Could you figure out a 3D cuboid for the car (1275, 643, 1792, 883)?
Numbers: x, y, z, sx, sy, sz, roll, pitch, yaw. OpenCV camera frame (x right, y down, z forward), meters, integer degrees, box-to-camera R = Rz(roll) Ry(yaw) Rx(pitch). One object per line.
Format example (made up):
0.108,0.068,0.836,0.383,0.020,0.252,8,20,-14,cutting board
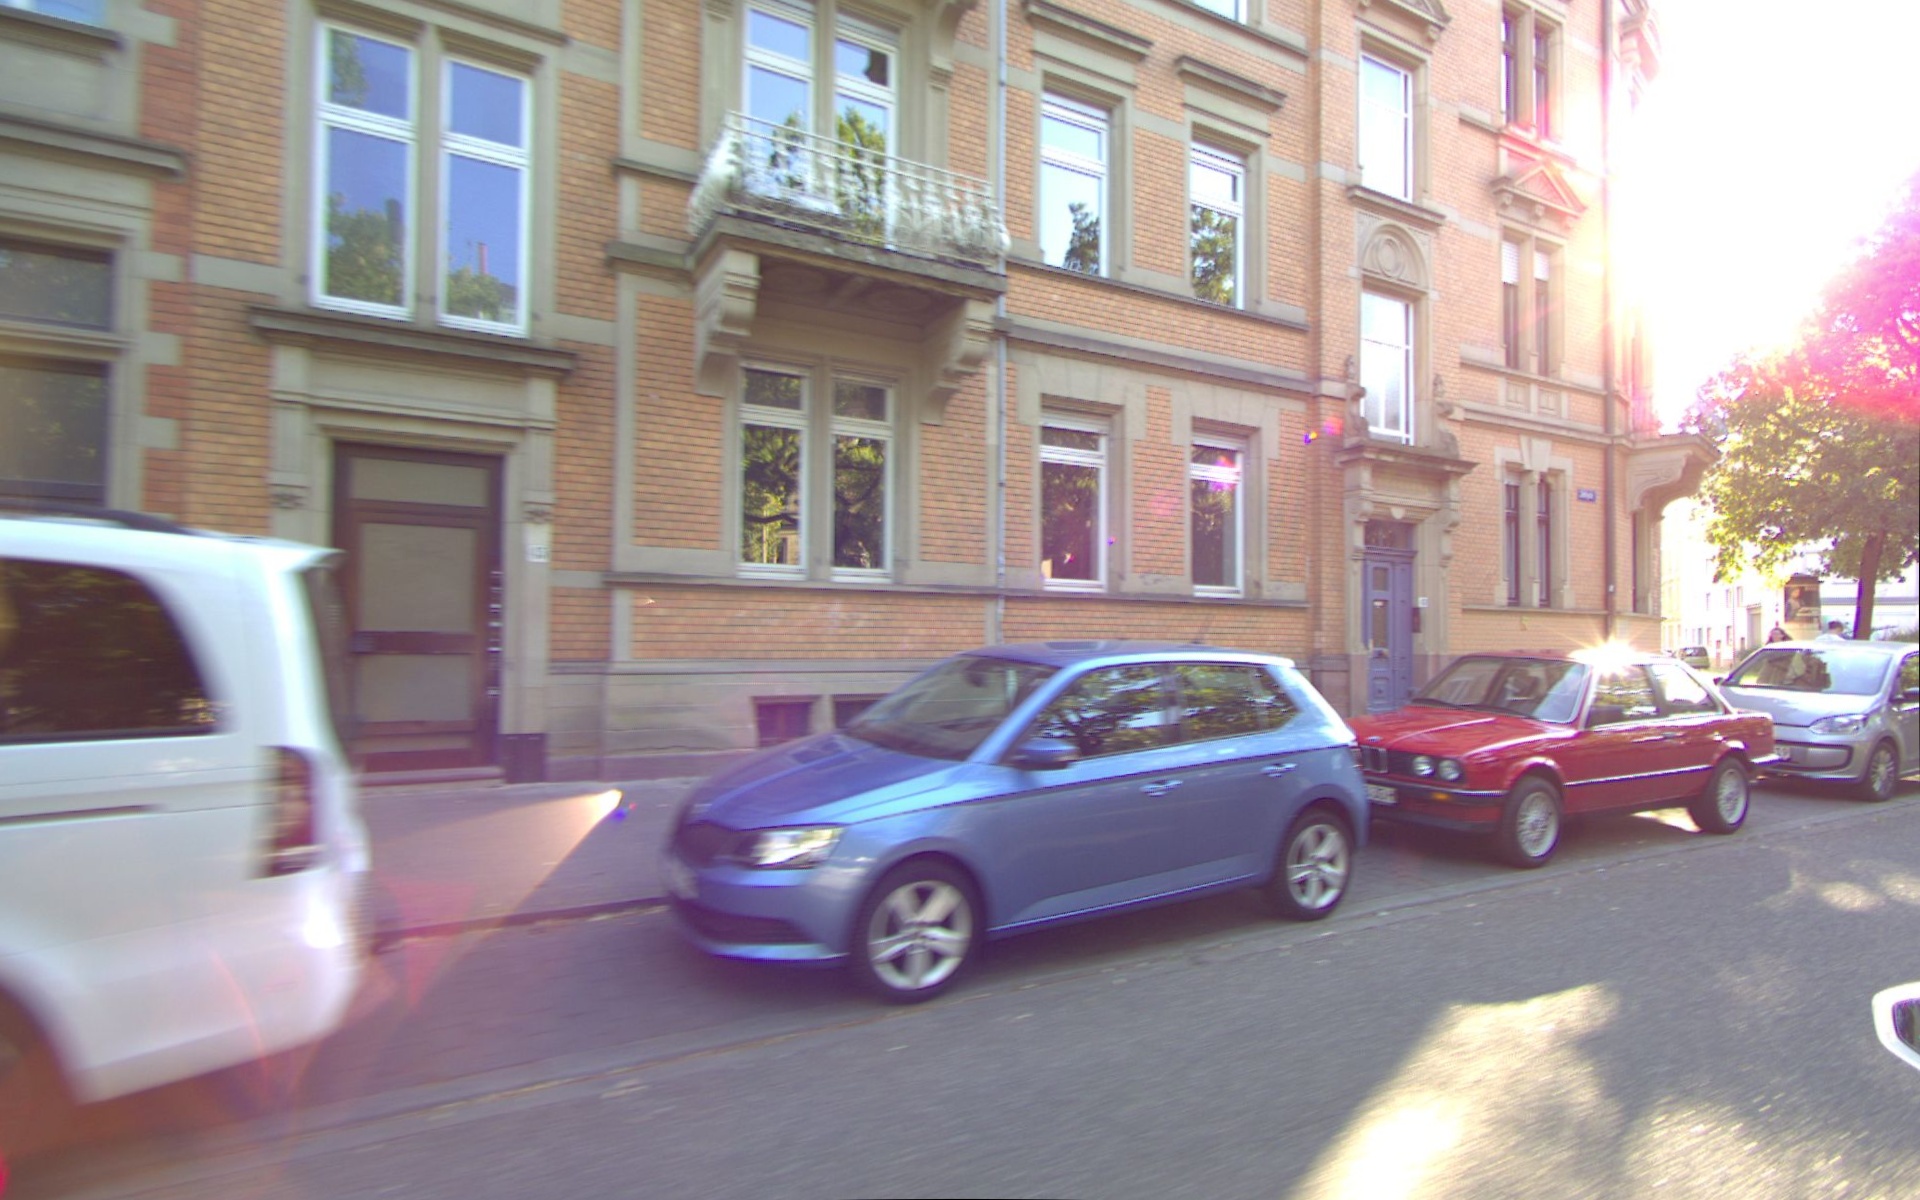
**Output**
4.642,1.095,7.995,4.189,1.448,1.663,2,-2,-29,car

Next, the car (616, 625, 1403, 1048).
0.379,0.927,5.384,3.953,1.506,1.662,2,-1,-30,car

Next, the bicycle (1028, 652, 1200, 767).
1.729,1.193,11.169,1.869,1.162,0.701,4,-2,-33,bicycle

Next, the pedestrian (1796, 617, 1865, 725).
14.154,1.138,16.335,0.700,1.690,0.594,-1,-1,-30,pedestrian

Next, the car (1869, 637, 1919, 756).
14.333,1.299,13.701,4.113,1.535,1.748,2,-2,-31,car

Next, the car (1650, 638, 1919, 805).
9.372,1.176,10.751,3.828,1.448,1.697,2,0,-28,car

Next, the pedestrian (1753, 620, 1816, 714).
14.357,1.156,17.497,0.700,1.571,0.594,-1,-1,-30,pedestrian

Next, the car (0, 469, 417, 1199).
-4.301,0.565,2.583,4.983,1.946,1.984,4,-2,-31,car
